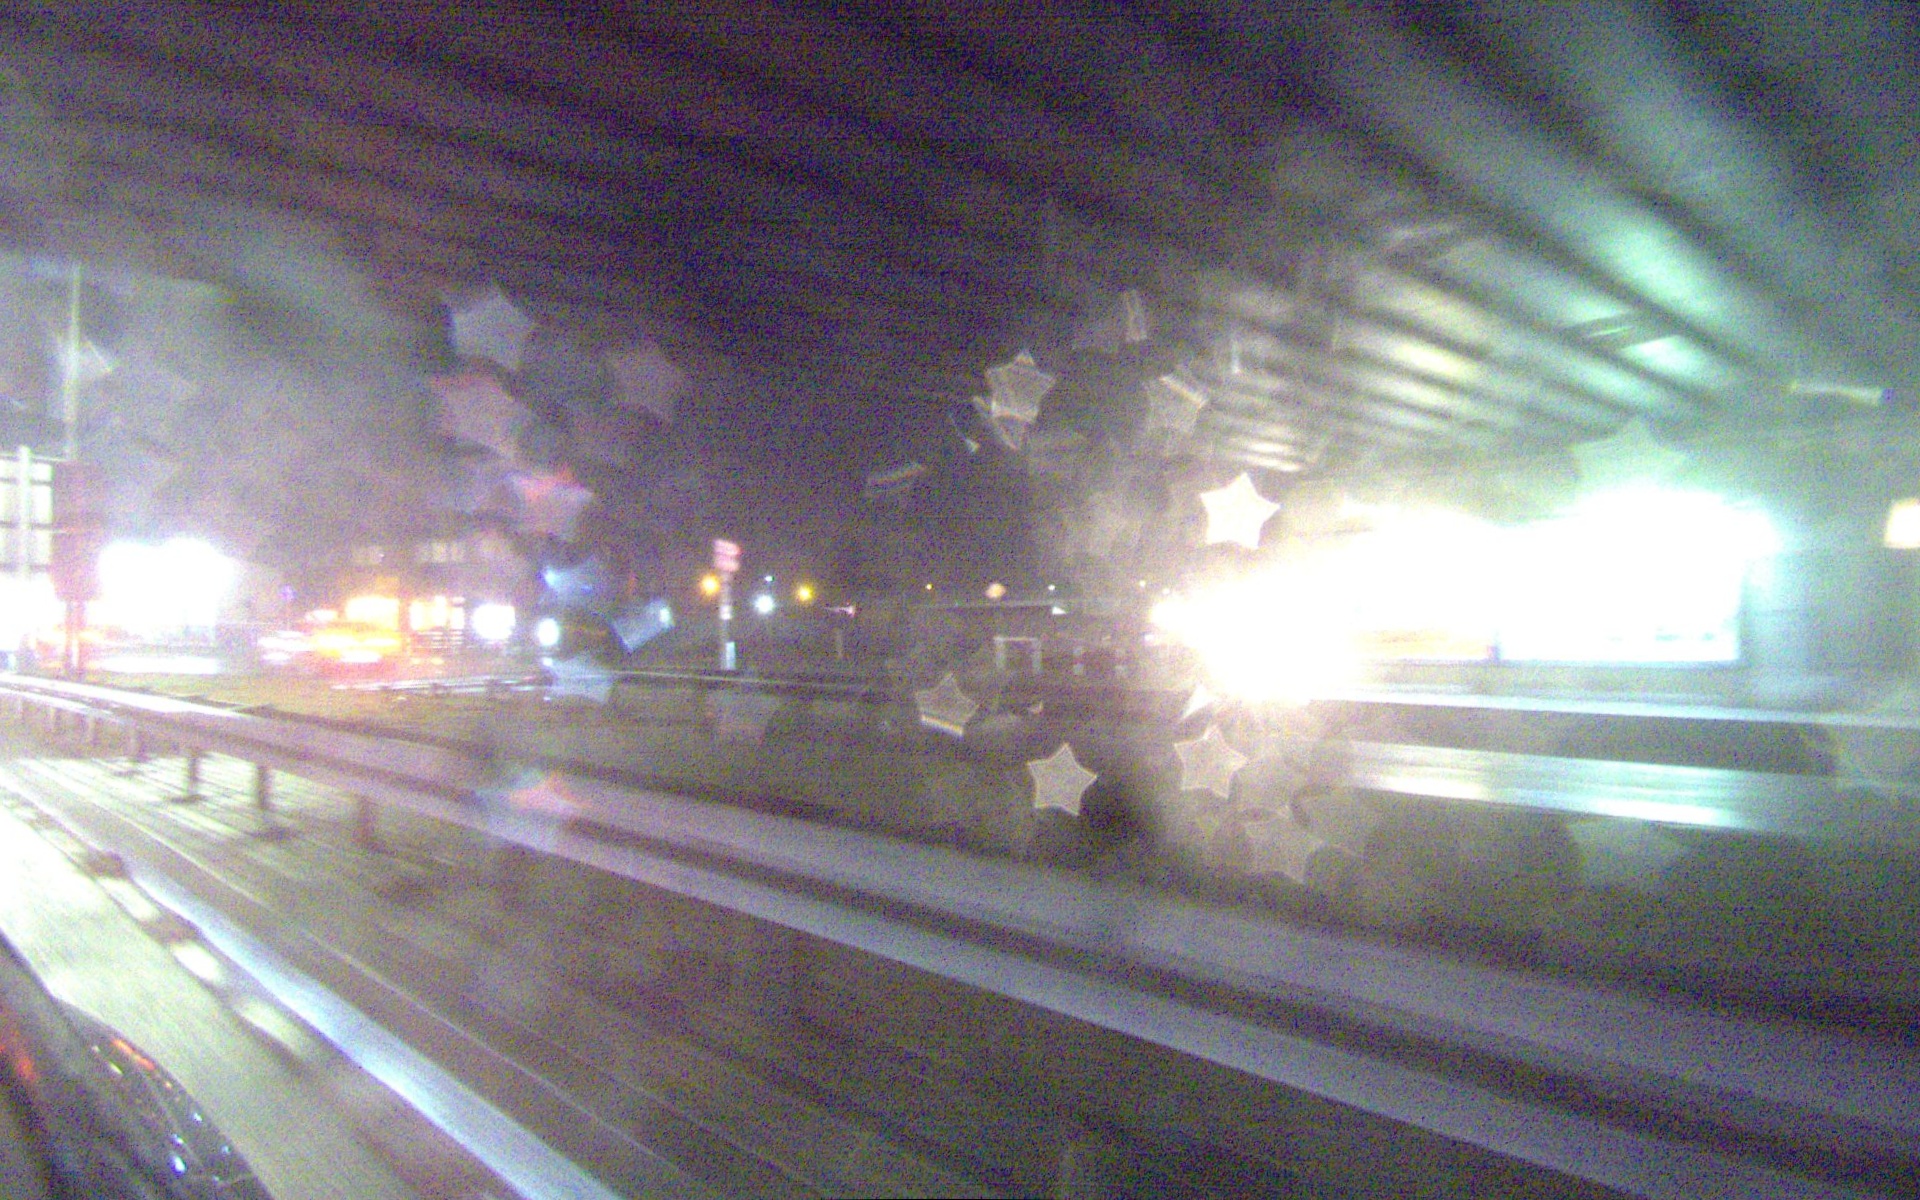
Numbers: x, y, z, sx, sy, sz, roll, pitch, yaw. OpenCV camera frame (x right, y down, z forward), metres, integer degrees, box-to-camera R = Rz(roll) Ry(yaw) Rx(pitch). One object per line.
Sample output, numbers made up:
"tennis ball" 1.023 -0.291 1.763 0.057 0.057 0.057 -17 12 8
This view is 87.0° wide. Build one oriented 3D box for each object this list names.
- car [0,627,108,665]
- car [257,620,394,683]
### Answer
"car" -36.652 1.821 40.460 4.575 1.400 1.890 -1 -1 19
"car" -17.204 1.343 27.369 4.301 1.548 1.583 -1 -1 35
